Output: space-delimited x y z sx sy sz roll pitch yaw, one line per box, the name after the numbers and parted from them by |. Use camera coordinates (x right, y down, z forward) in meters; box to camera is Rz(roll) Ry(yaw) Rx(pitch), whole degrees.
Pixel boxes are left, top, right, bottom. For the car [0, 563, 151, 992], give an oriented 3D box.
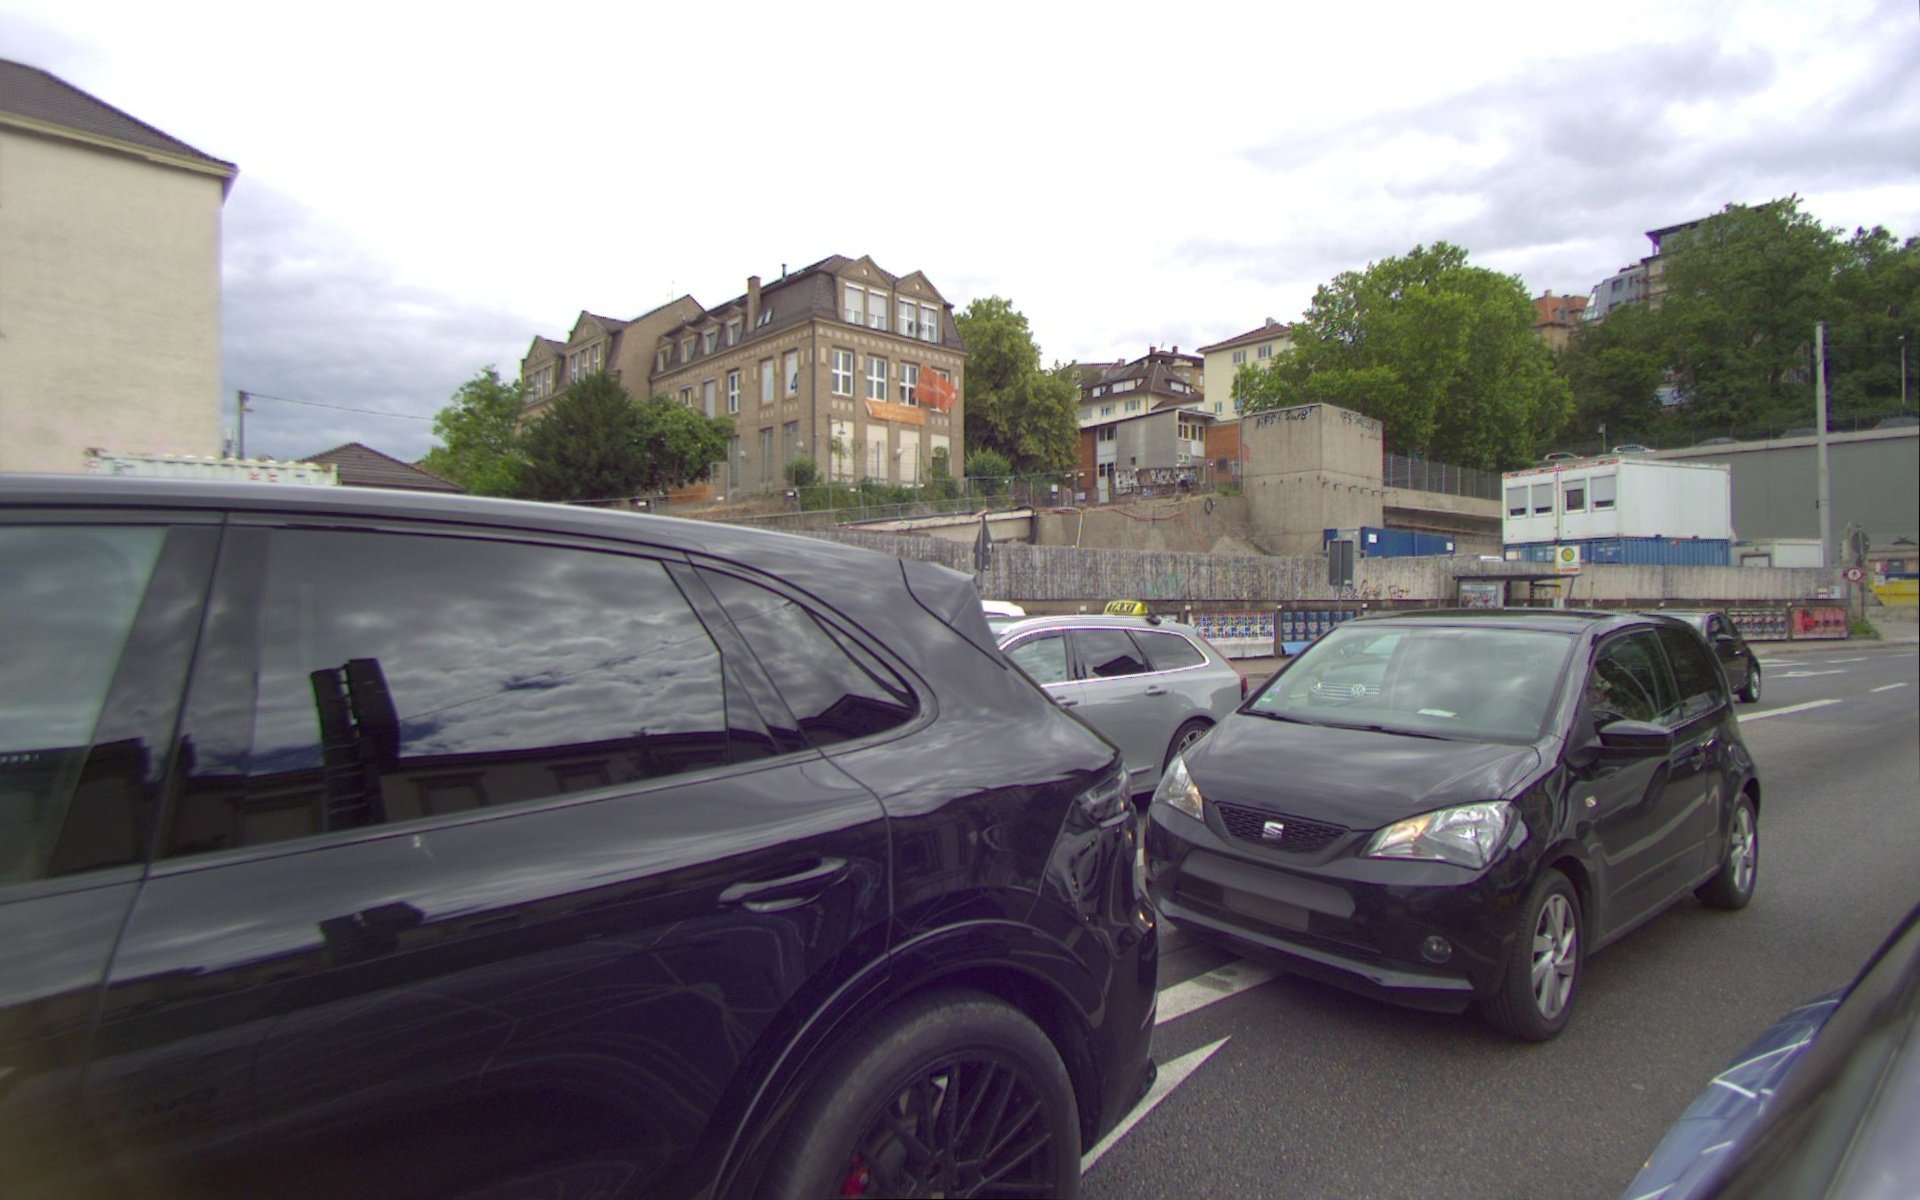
-5.061 0.642 3.452 3.581 1.529 1.826 -1 0 -39 | car

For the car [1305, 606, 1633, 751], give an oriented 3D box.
6.025 0.777 11.800 4.139 1.381 1.827 1 0 -38 | car

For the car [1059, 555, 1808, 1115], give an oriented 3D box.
2.413 0.638 4.713 3.841 1.575 1.661 -1 0 -39 | car

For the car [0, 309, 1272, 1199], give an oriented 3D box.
-1.657 0.561 1.662 4.497 1.689 1.998 -1 0 -39 | car

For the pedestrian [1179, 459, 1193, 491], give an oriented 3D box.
13.388 -7.400 59.993 0.558 1.817 0.556 0 0 -29 | pedestrian

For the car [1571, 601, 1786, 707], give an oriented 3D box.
11.310 0.774 15.870 3.711 1.478 1.721 1 -2 -38 | car

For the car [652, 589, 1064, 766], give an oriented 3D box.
-0.938 0.640 10.598 4.004 1.484 1.824 -1 0 -42 | car

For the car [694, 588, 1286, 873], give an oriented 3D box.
0.401 0.664 7.335 4.142 1.484 1.825 -1 0 -40 | car
